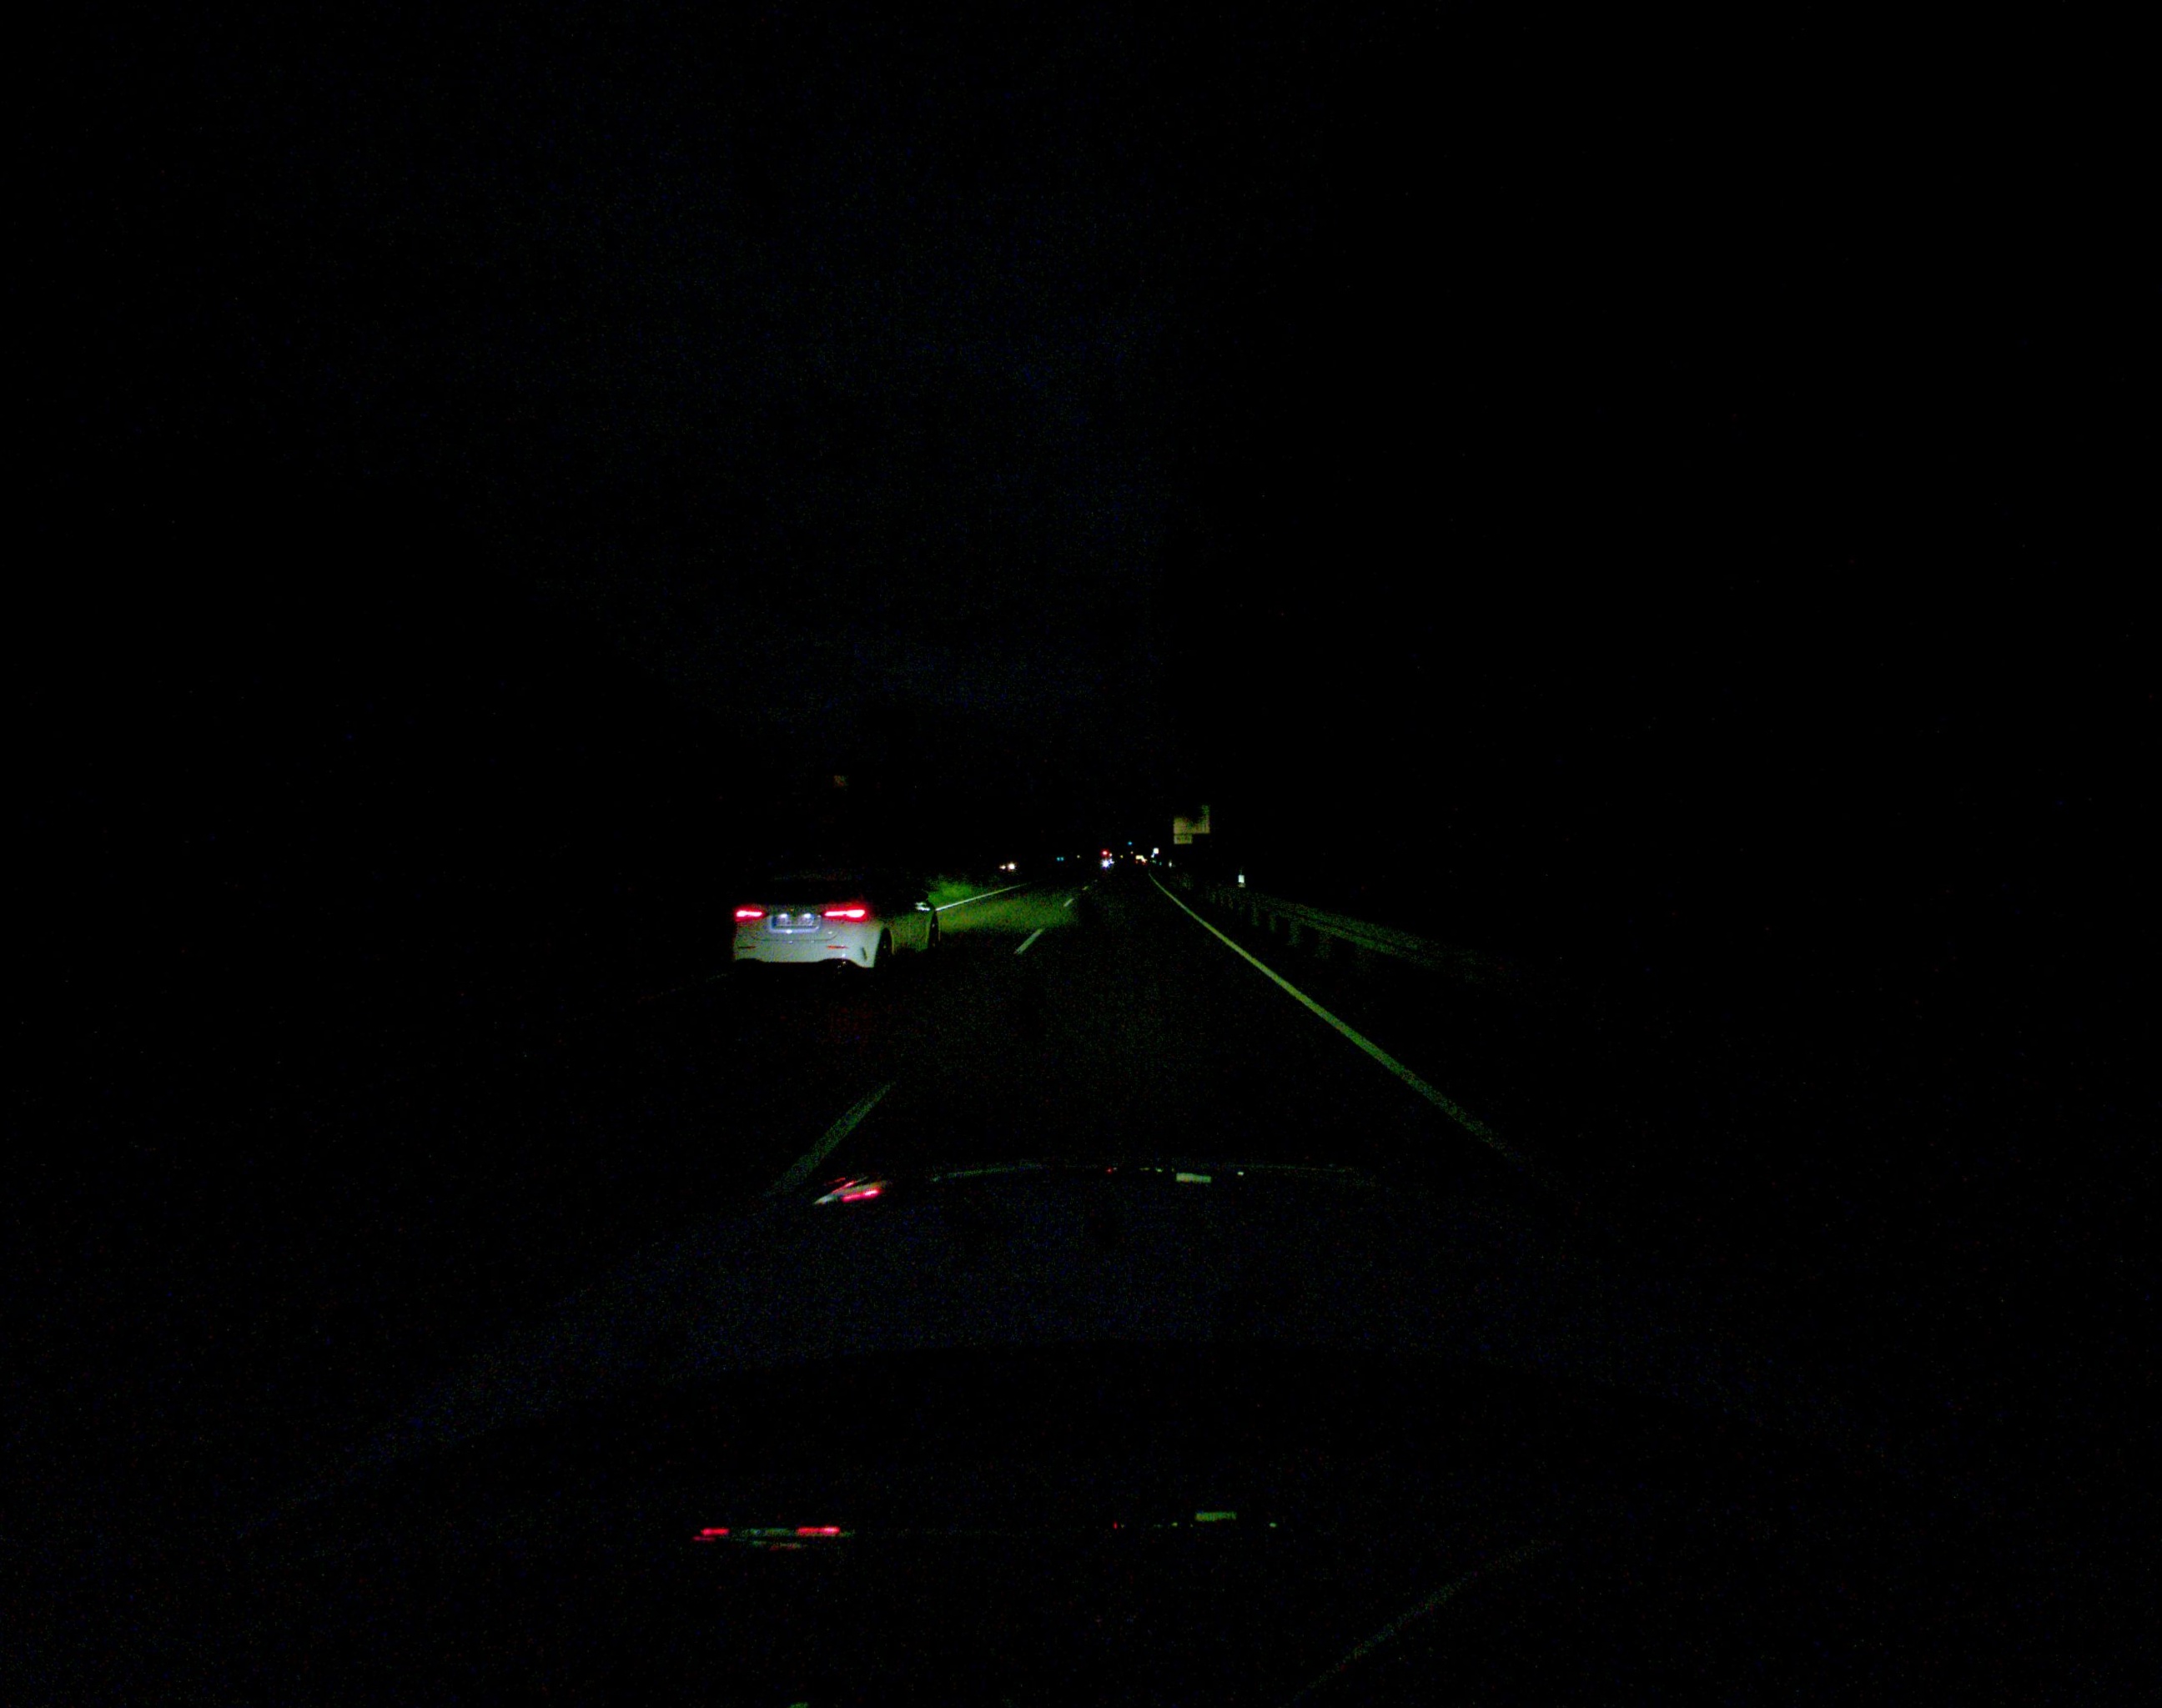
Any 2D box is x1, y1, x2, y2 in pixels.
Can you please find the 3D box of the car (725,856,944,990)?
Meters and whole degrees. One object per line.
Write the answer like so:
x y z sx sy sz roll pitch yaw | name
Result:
-3.170 0.790 11.503 1.636 1.490 4.580 -1 0 1 | car

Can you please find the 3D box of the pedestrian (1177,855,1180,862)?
25.681 1.185 214.420 0.917 1.793 1.107 -1 0 4 | pedestrian
